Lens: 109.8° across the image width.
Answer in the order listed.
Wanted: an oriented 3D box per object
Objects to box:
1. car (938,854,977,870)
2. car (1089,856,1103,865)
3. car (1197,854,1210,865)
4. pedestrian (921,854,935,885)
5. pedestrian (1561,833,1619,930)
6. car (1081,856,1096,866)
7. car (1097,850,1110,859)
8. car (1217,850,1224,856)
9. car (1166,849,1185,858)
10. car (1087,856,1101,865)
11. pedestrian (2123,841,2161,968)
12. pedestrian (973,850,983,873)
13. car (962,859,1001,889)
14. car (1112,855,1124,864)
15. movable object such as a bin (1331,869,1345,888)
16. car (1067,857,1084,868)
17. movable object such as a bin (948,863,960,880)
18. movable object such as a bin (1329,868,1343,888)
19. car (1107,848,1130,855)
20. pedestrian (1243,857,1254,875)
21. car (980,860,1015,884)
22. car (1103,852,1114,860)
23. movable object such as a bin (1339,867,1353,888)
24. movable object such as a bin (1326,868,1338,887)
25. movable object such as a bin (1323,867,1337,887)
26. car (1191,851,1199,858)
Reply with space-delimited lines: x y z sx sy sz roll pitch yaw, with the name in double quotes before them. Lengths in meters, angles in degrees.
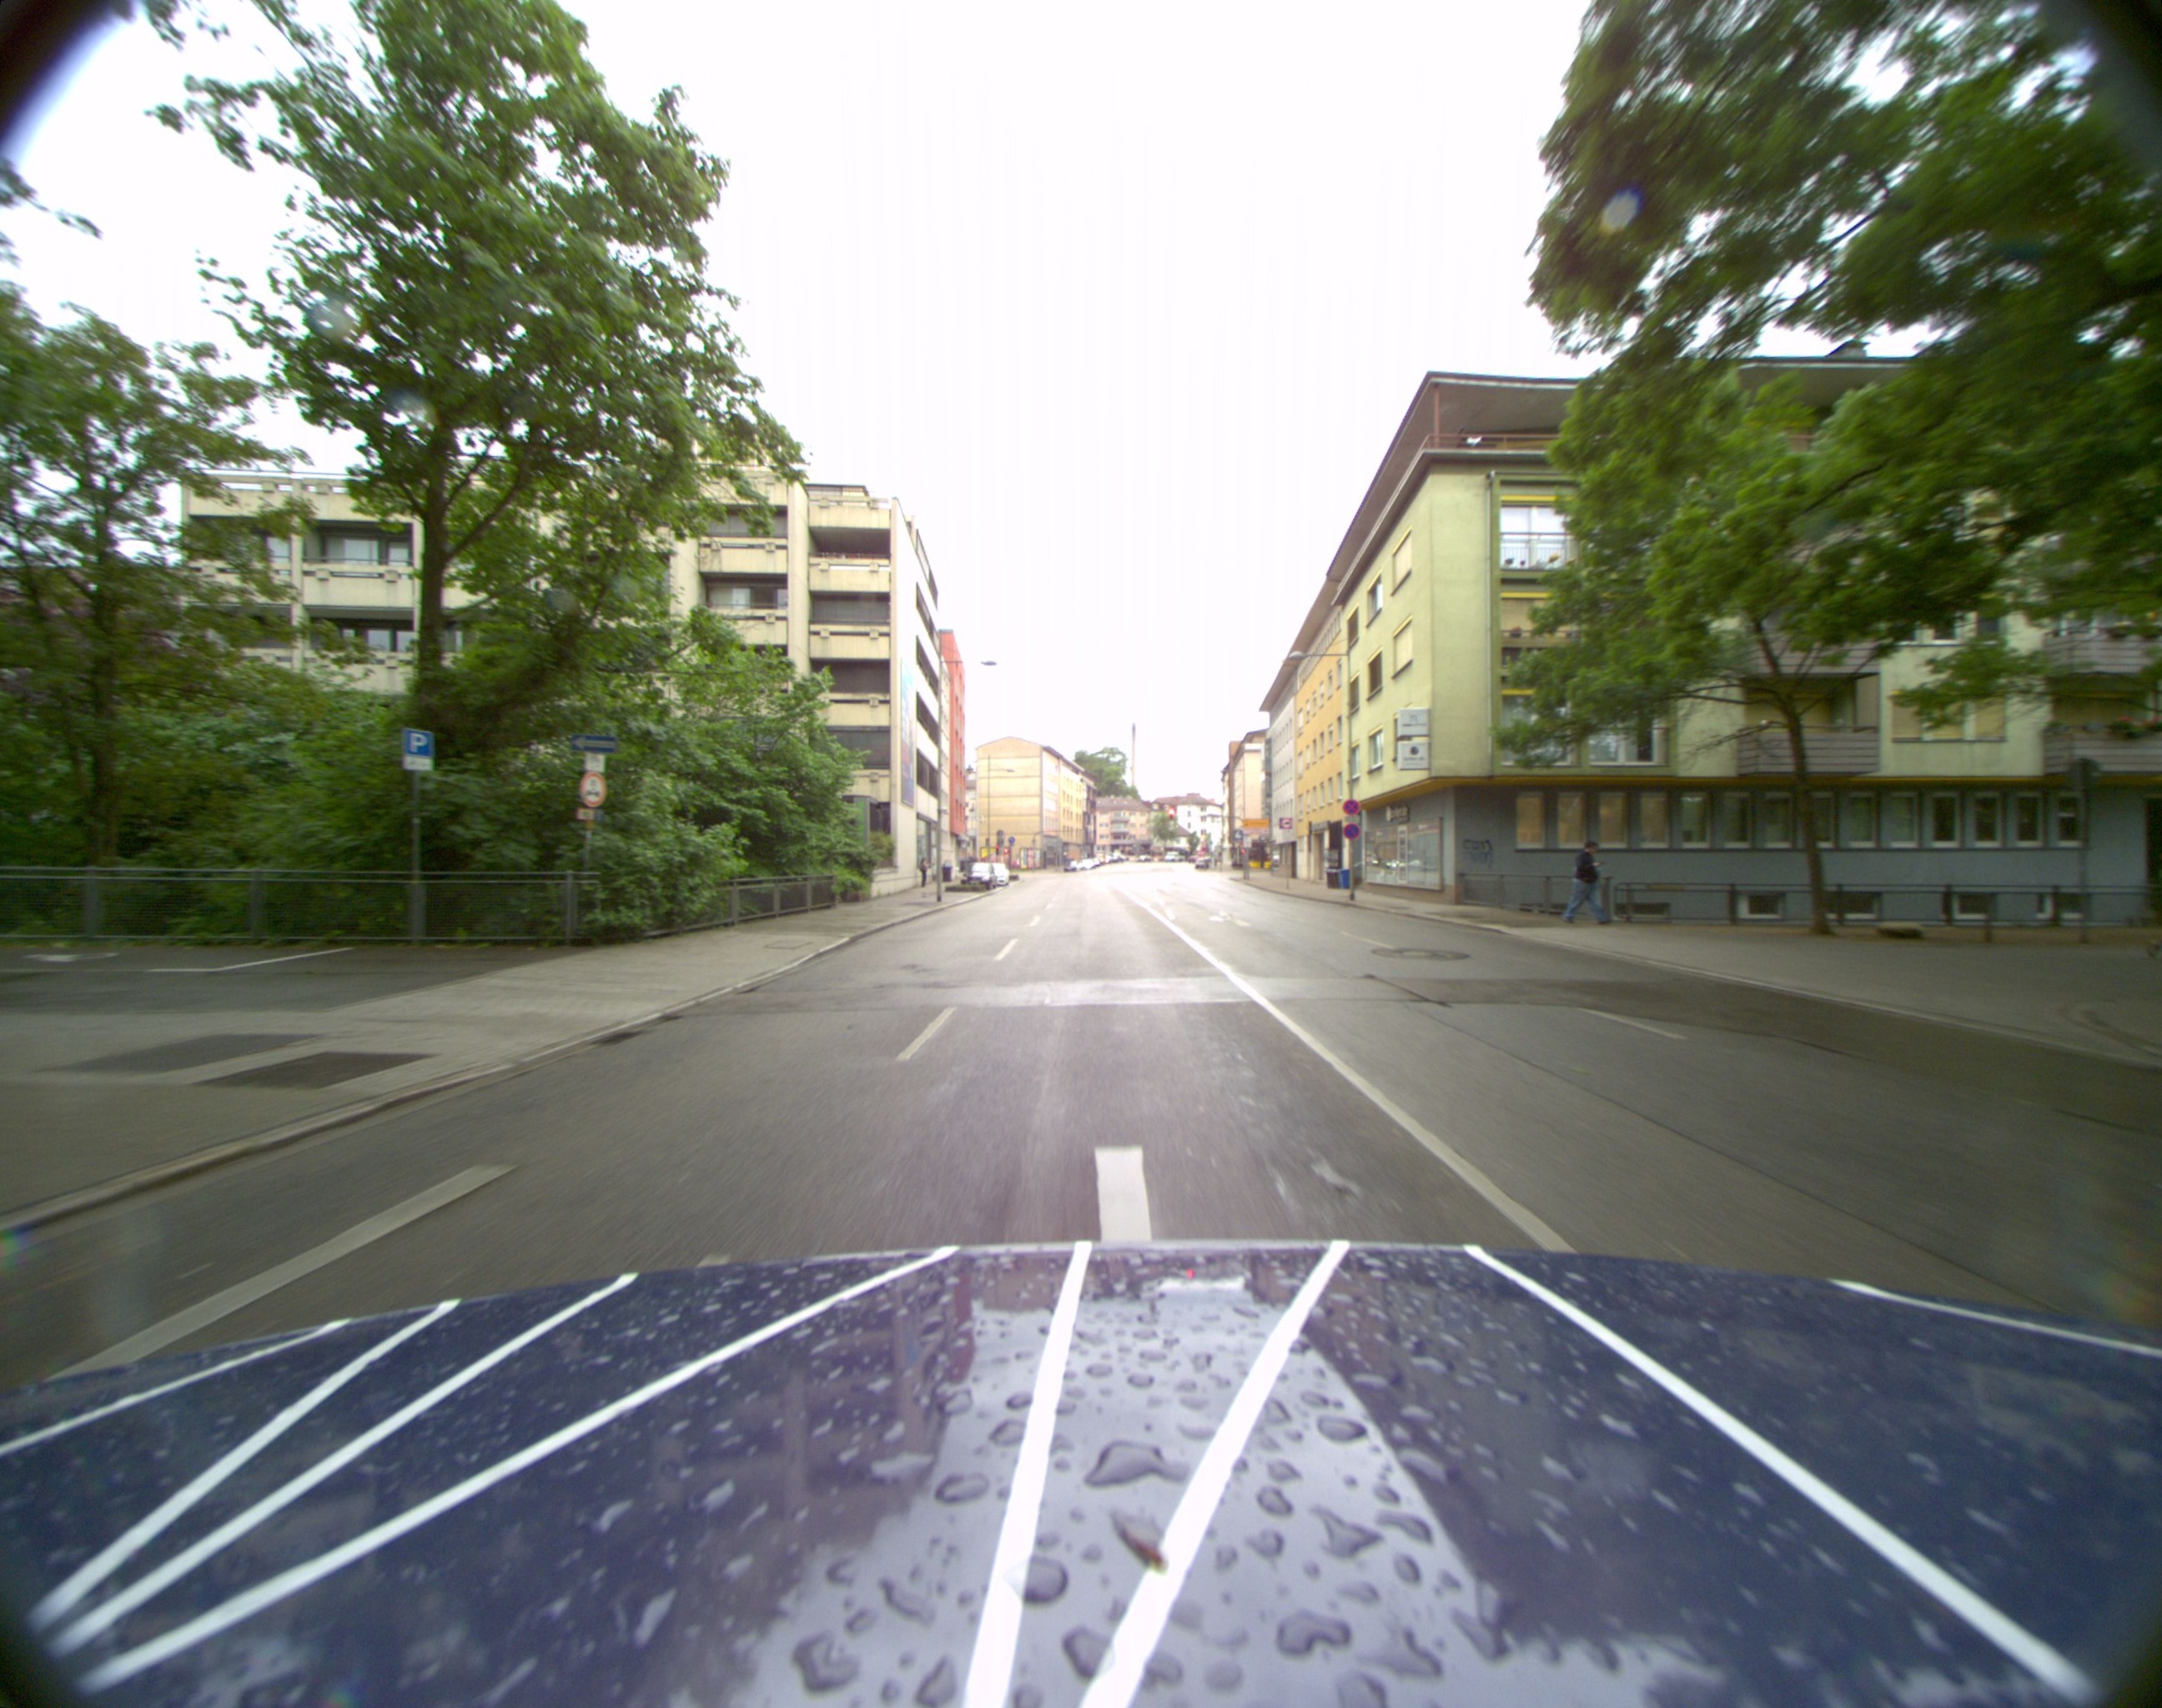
"car" -13.875 0.888 85.535 3.997 1.674 1.880 0 0 1
"car" 2.408 1.010 122.433 1.736 1.389 3.744 0 0 8
"car" 17.725 0.820 109.886 1.834 1.612 4.003 0 0 10
"pedestrian" -8.198 0.825 40.822 0.599 1.650 0.691 3 0 -7
"pedestrian" 10.813 0.570 16.161 0.752 2.002 0.782 0 0 7
"car" 1.084 1.010 109.485 1.736 1.389 3.744 0 0 8
"car" 3.949 0.074 131.085 1.736 1.389 3.744 0 0 9
"car" 33.417 -0.217 181.957 1.591 1.518 3.491 0 0 14
"car" 20.497 -0.077 164.671 2.013 1.754 4.773 1 0 33
"car" 2.008 1.025 116.605 1.736 1.389 3.744 0 0 8
"pedestrian" 16.786 0.758 11.477 0.918 1.913 0.820 0 0 6
"pedestrian" -9.696 0.732 71.530 0.806 2.140 0.737 0 0 -23
"car" -5.500 1.070 42.290 1.706 1.549 3.804 1 0 -1
"car" 7.054 1.070 145.249 1.670 1.761 4.004 1 0 11
"movable object such as a bin" 12.661 1.186 37.452 0.529 0.890 0.435 -4 0 7
"car" -0.662 1.106 101.574 1.736 1.389 3.744 0 0 8
"movable object such as a bin" -8.562 1.173 51.285 0.681 1.097 0.514 0 0 -2
"movable object such as a bin" 12.743 1.193 37.913 0.529 0.922 0.426 -4 0 7
"car" 7.938 -0.457 160.887 2.038 1.522 4.894 0 0 -40
"pedestrian" 15.280 1.075 69.268 0.785 1.578 0.674 -2 0 21
"car" -5.328 1.142 48.961 1.835 1.412 4.569 1 0 -1
"car" 4.960 0.348 136.456 1.736 1.389 3.743 0 0 8
"movable object such as a bin" 12.871 1.136 36.902 0.529 0.955 0.435 -4 0 7
"movable object such as a bin" 12.702 1.207 38.448 0.465 0.922 0.428 -4 0 7
"movable object such as a bin" 12.839 1.185 39.133 0.517 0.994 0.524 -4 0 8
"car" 23.622 0.102 157.584 1.748 1.586 4.002 0 0 8
